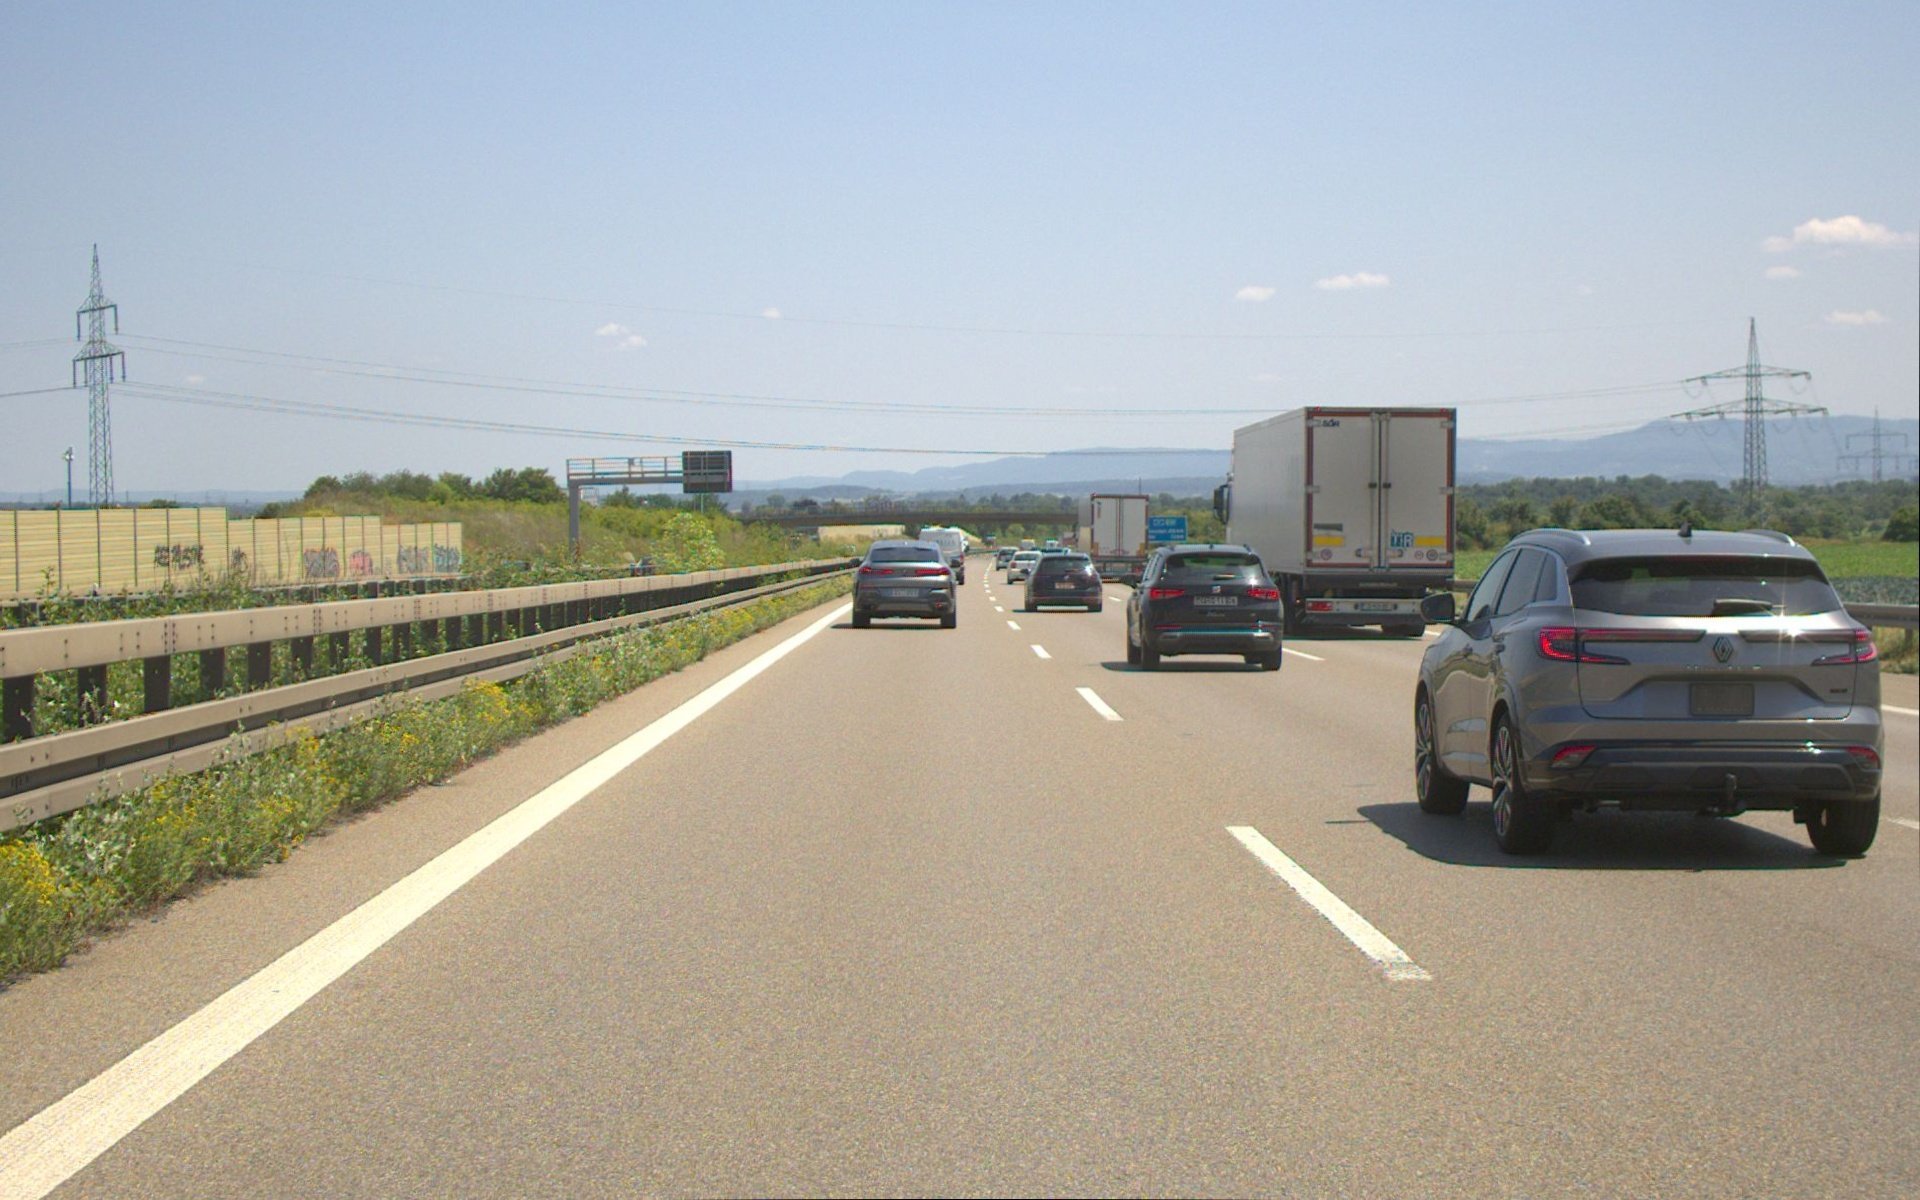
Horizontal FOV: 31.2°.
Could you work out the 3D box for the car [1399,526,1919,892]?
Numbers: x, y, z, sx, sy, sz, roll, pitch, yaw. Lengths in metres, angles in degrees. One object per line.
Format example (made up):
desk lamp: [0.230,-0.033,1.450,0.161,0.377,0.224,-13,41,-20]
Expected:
car: [3.522,0.445,17.898,1.851,1.643,4.645,1,1,0]

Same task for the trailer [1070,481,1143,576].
trailer: [6.746,-3.255,159.693,2.943,4.184,13.596,1,1,1]

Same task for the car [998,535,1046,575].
car: [2.654,-1.921,147.298,1.993,1.677,4.000,1,1,1]

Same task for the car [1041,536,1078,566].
car: [5.637,-2.780,194.849,1.993,1.677,4.000,1,1,1]

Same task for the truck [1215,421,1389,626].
truck: [7.110,-1.574,72.362,2.862,4.077,6.880,1,1,0]

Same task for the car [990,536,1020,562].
car: [3.014,-3.422,231.201,1.993,1.677,4.000,1,1,1]

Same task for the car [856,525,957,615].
car: [-1.058,-0.579,66.292,1.851,1.658,3.735,1,1,-2]

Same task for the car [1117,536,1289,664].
car: [3.086,-0.016,44.357,1.796,1.556,3.824,1,1,-2]

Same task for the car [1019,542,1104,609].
car: [2.470,-0.604,84.480,1.933,1.569,4.934,1,1,0]

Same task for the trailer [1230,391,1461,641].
trailer: [7.066,-1.491,65.039,2.868,4.205,13.295,1,1,0]

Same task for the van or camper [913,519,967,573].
van or camper: [-0.816,-2.248,144.840,2.111,2.204,5.265,1,1,1]
